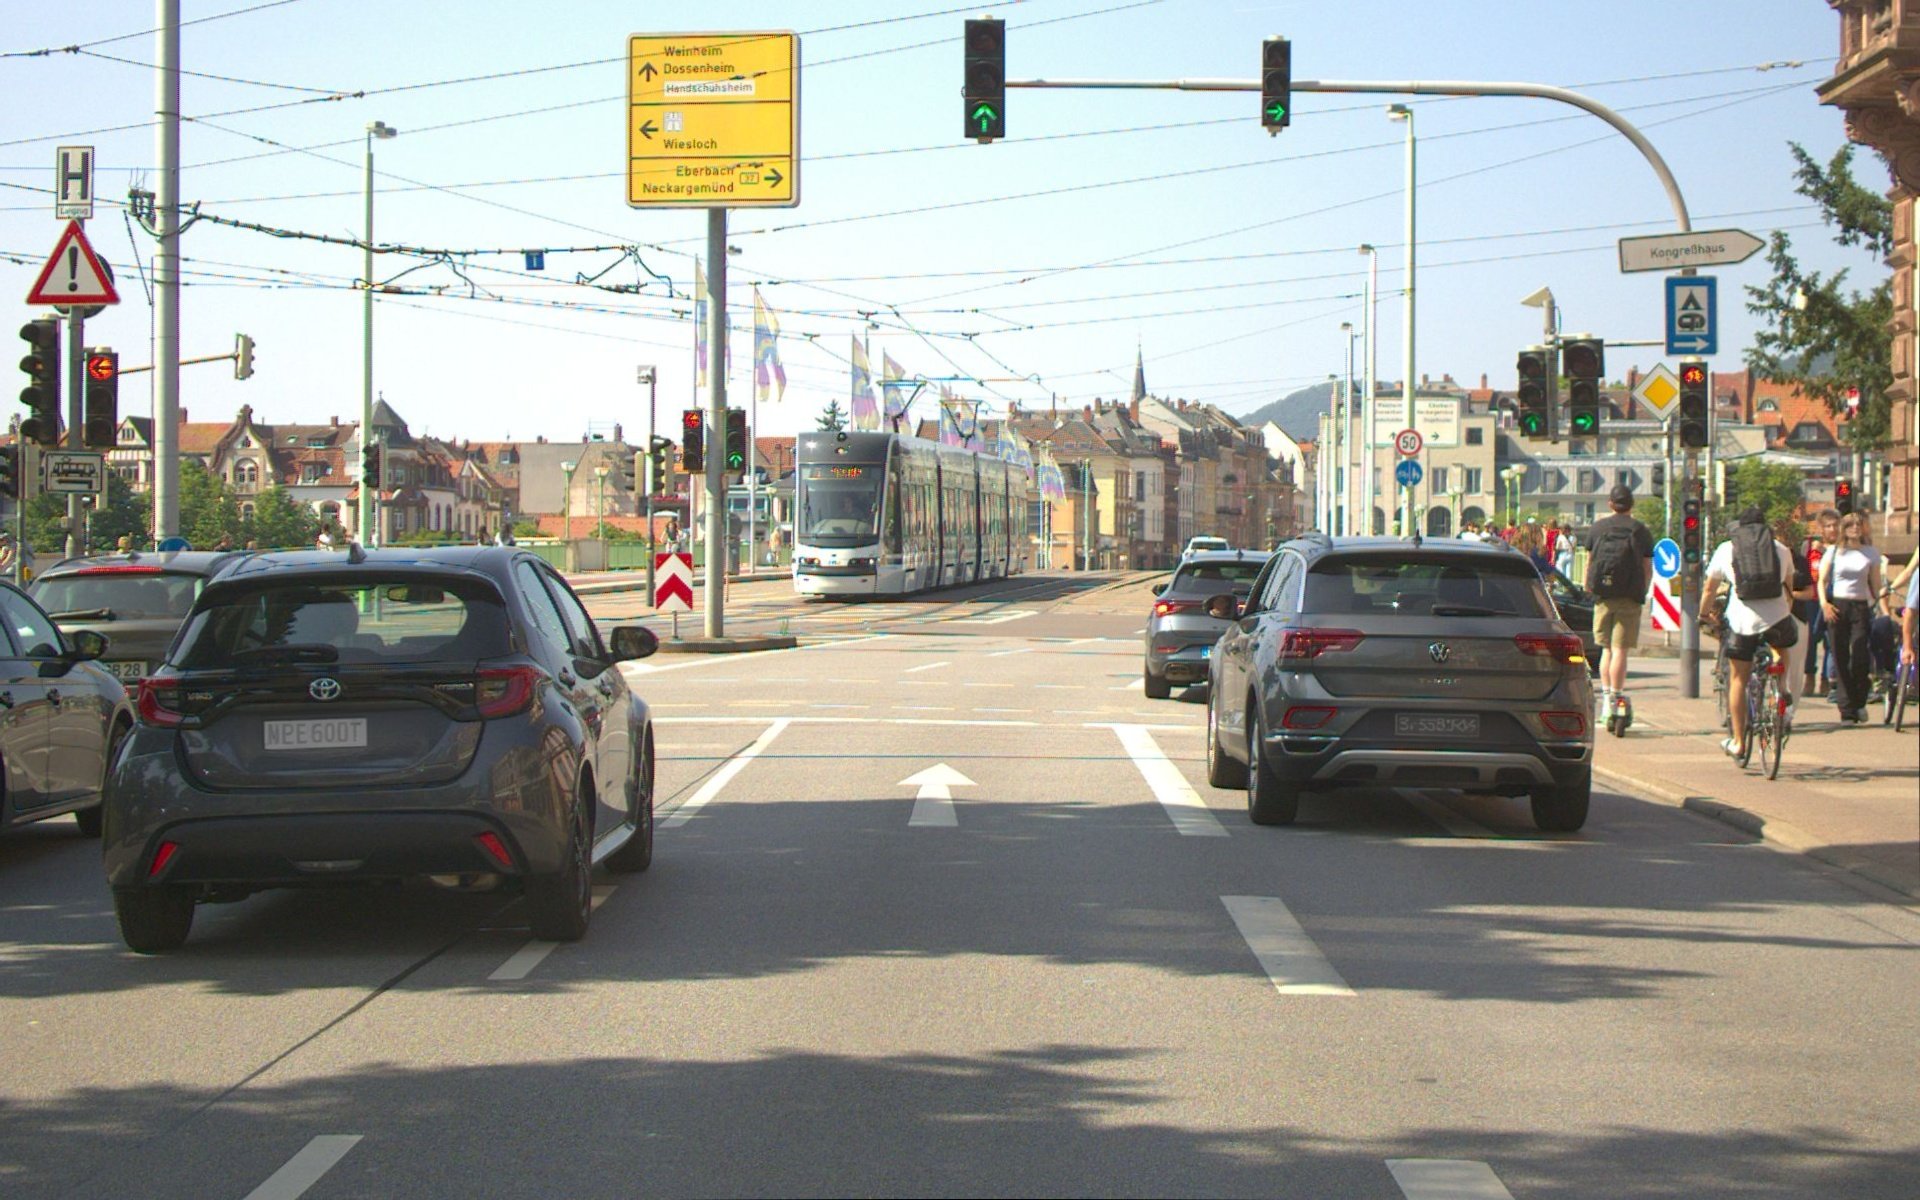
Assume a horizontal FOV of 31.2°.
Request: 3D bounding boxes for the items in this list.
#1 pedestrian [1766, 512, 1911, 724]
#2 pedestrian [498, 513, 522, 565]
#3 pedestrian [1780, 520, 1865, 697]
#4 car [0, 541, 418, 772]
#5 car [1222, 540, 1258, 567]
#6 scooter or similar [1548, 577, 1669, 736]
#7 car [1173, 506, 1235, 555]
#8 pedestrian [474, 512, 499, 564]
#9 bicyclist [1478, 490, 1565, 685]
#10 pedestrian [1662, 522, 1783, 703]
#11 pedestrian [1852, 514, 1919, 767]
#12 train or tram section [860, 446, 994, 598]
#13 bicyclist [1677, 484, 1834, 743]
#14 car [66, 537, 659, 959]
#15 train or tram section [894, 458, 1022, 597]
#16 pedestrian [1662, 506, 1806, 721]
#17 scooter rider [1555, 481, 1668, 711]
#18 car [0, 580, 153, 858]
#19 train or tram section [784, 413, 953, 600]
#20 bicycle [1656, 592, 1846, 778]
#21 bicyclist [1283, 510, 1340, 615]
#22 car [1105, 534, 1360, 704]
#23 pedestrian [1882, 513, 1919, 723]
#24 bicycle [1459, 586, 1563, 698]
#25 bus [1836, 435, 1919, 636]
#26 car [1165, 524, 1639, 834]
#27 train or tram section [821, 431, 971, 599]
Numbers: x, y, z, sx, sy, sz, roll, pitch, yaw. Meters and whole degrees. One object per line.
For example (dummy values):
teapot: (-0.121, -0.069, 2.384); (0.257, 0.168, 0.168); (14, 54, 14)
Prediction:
pedestrian: (7.025, 0.139, 27.535); (0.862, 1.634, 0.875); (2, 0, -1)
pedestrian: (-12.581, -1.698, 96.115); (0.558, 1.411, 0.636); (2, 0, -1)
pedestrian: (8.156, 0.081, 32.537); (0.576, 1.634, 0.611); (2, 0, -1)
car: (-5.032, 0.329, 22.951); (2.037, 1.328, 4.000); (2, 0, 2)
car: (16.667, -2.756, 204.855); (1.859, 1.502, 4.000); (2, 0, 2)
scooter or similar: (4.996, 0.418, 26.554); (0.688, 1.163, 1.463); (2, 0, 3)
car: (8.245, -2.340, 116.342); (1.859, 1.502, 4.000); (2, 0, 2)
pedestrian: (-13.248, -1.727, 96.123); (0.558, 1.411, 0.636); (2, 0, -1)
bicyclist: (5.776, -0.132, 35.392); (0.688, 1.955, 0.778); (2, 0, 1)
pedestrian: (7.130, 0.110, 32.188); (0.862, 1.634, 0.875); (2, 0, -1)
pedestrian: (6.487, 0.272, 22.746); (0.862, 1.634, 0.875); (2, 0, -1)
train or tram section: (-0.808, -2.070, 91.853); (2.823, 3.764, 8.225); (3, 1, 4)
bicyclist: (5.025, 0.080, 21.776); (0.688, 1.571, 1.049); (2, 0, 0)
car: (-2.280, 0.512, 14.124); (1.777, 1.470, 4.000); (-1, 0, -1)
train or tram section: (0.027, -2.099, 100.138); (2.823, 3.764, 8.224); (3, 1, 5)
pedestrian: (6.107, 0.102, 27.161); (0.862, 1.634, 0.875); (2, 0, -1)
scooter rider: (5.033, -0.032, 26.608); (0.688, 1.723, 0.778); (2, 0, 3)
car: (-5.185, 0.570, 16.696); (1.451, 1.296, 4.000); (-2, 0, 2)
train or tram section: (-1.907, -2.004, 75.512); (2.823, 3.764, 8.225); (3, 1, 4)
bicycle: (4.994, 0.516, 21.827); (0.734, 1.089, 1.898); (2, 0, 0)
bicyclist: (5.377, -0.573, 52.625); (0.688, 1.571, 1.049); (2, 0, -1)
car: (2.610, 0.160, 33.808); (1.993, 1.487, 4.000); (2, 0, -2)
pedestrian: (7.865, 0.151, 27.126); (0.862, 1.634, 0.875); (2, 0, -1)
bicycle: (5.676, 0.417, 35.495); (0.734, 1.089, 1.898); (2, 0, 1)
bus: (17.083, -0.730, 48.913); (8.610, 2.767, 2.980); (2, 0, -19)
car: (2.346, 0.381, 19.298); (1.873, 1.487, 4.001); (2, 0, -3)
train or tram section: (-1.475, -2.039, 83.663); (2.823, 3.764, 8.225); (3, 1, 4)
